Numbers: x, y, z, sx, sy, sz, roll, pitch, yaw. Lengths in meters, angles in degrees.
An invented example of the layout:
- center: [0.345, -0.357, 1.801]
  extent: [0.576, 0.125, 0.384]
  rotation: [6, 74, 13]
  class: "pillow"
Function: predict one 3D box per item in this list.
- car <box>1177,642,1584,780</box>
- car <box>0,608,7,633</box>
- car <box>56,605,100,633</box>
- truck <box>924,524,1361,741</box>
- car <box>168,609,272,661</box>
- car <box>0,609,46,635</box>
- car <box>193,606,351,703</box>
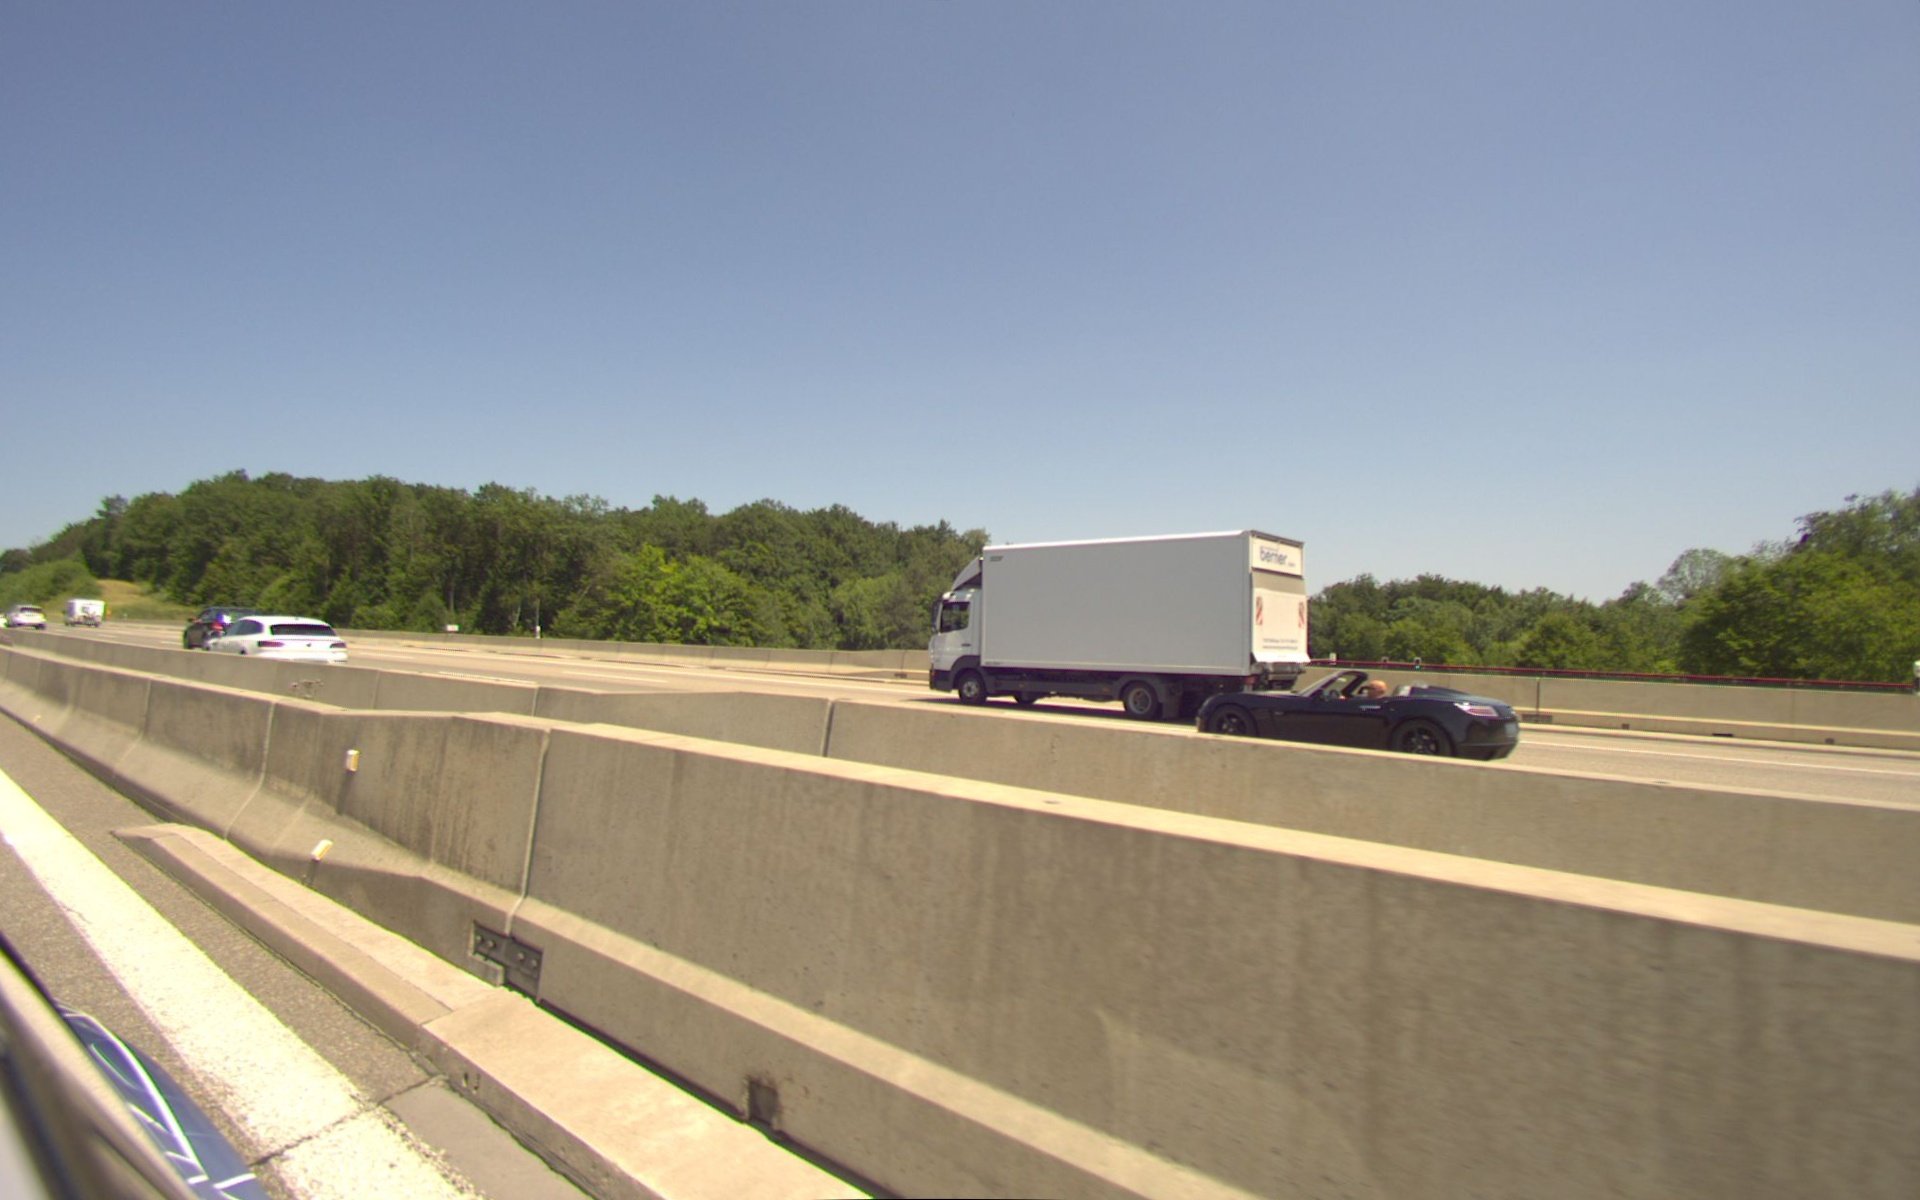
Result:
- center: [5.268, 1.300, 13.042]
  extent: [4.529, 1.386, 1.779]
  rotation: [-1, -3, 41]
  class: "car"
- center: [-60.805, 1.217, 62.830]
  extent: [5.316, 1.535, 1.829]
  rotation: [-1, -3, 41]
  class: "car"
- center: [-89.478, 1.874, 102.602]
  extent: [8.171, 2.679, 2.198]
  rotation: [0, -3, 41]
  class: "car"
- center: [3.328, 0.621, 20.513]
  extent: [8.571, 3.598, 2.513]
  rotation: [0, -4, 41]
  class: "truck"
- center: [-27.270, 1.265, 37.229]
  extent: [4.922, 1.748, 1.973]
  rotation: [0, -3, 41]
  class: "car"
- center: [-70.445, 1.642, 75.979]
  extent: [5.316, 1.801, 1.973]
  rotation: [-1, -3, 41]
  class: "car"
- center: [-15.211, 1.123, 22.241]
  extent: [5.209, 1.894, 1.755]
  rotation: [-2, -1, 43]
  class: "car"
